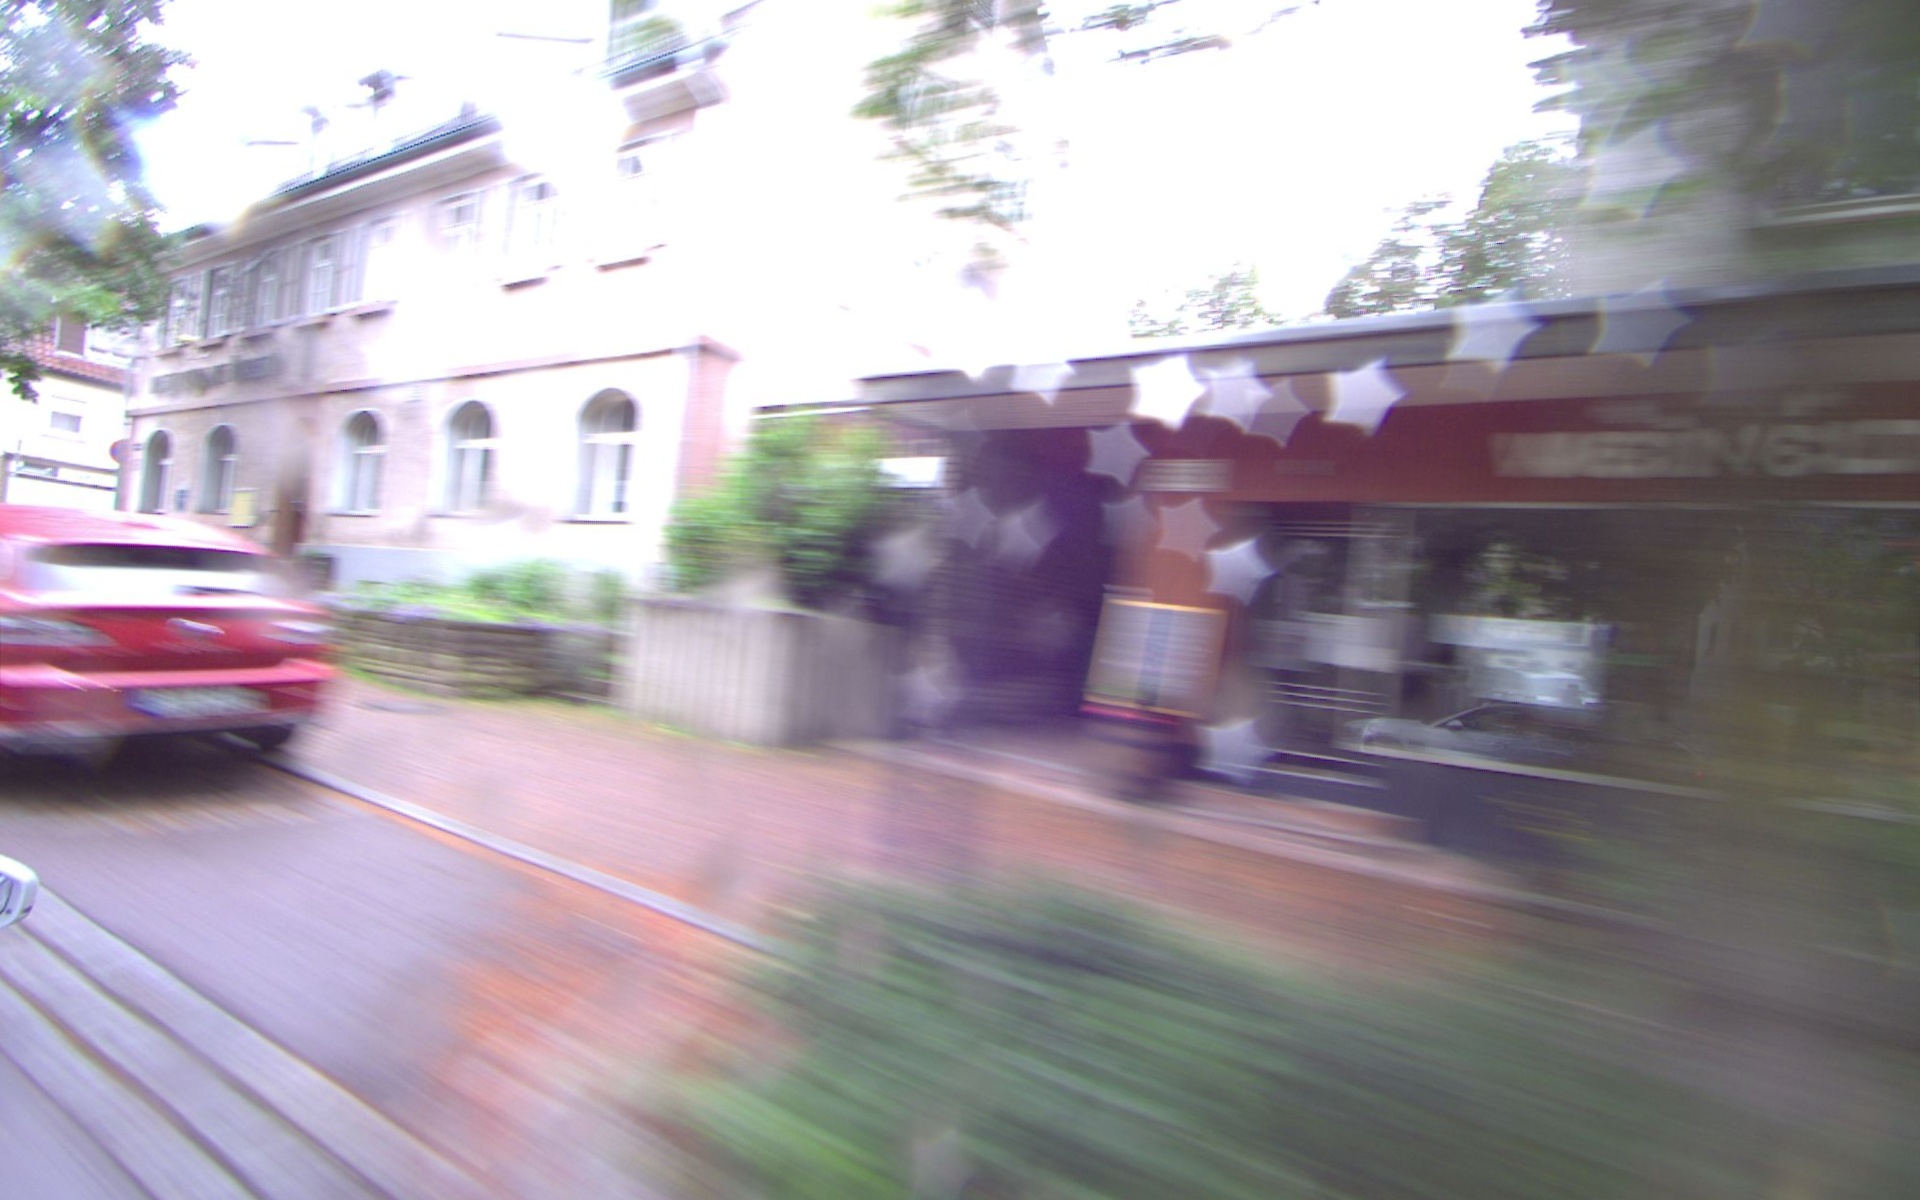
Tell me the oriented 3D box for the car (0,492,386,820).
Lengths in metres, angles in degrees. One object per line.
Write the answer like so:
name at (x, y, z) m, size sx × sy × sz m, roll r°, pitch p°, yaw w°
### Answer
car at (-5.714, 0.114, 6.465) m, size 4.297 × 1.491 × 1.854 m, roll 7°, pitch 1°, yaw 36°
